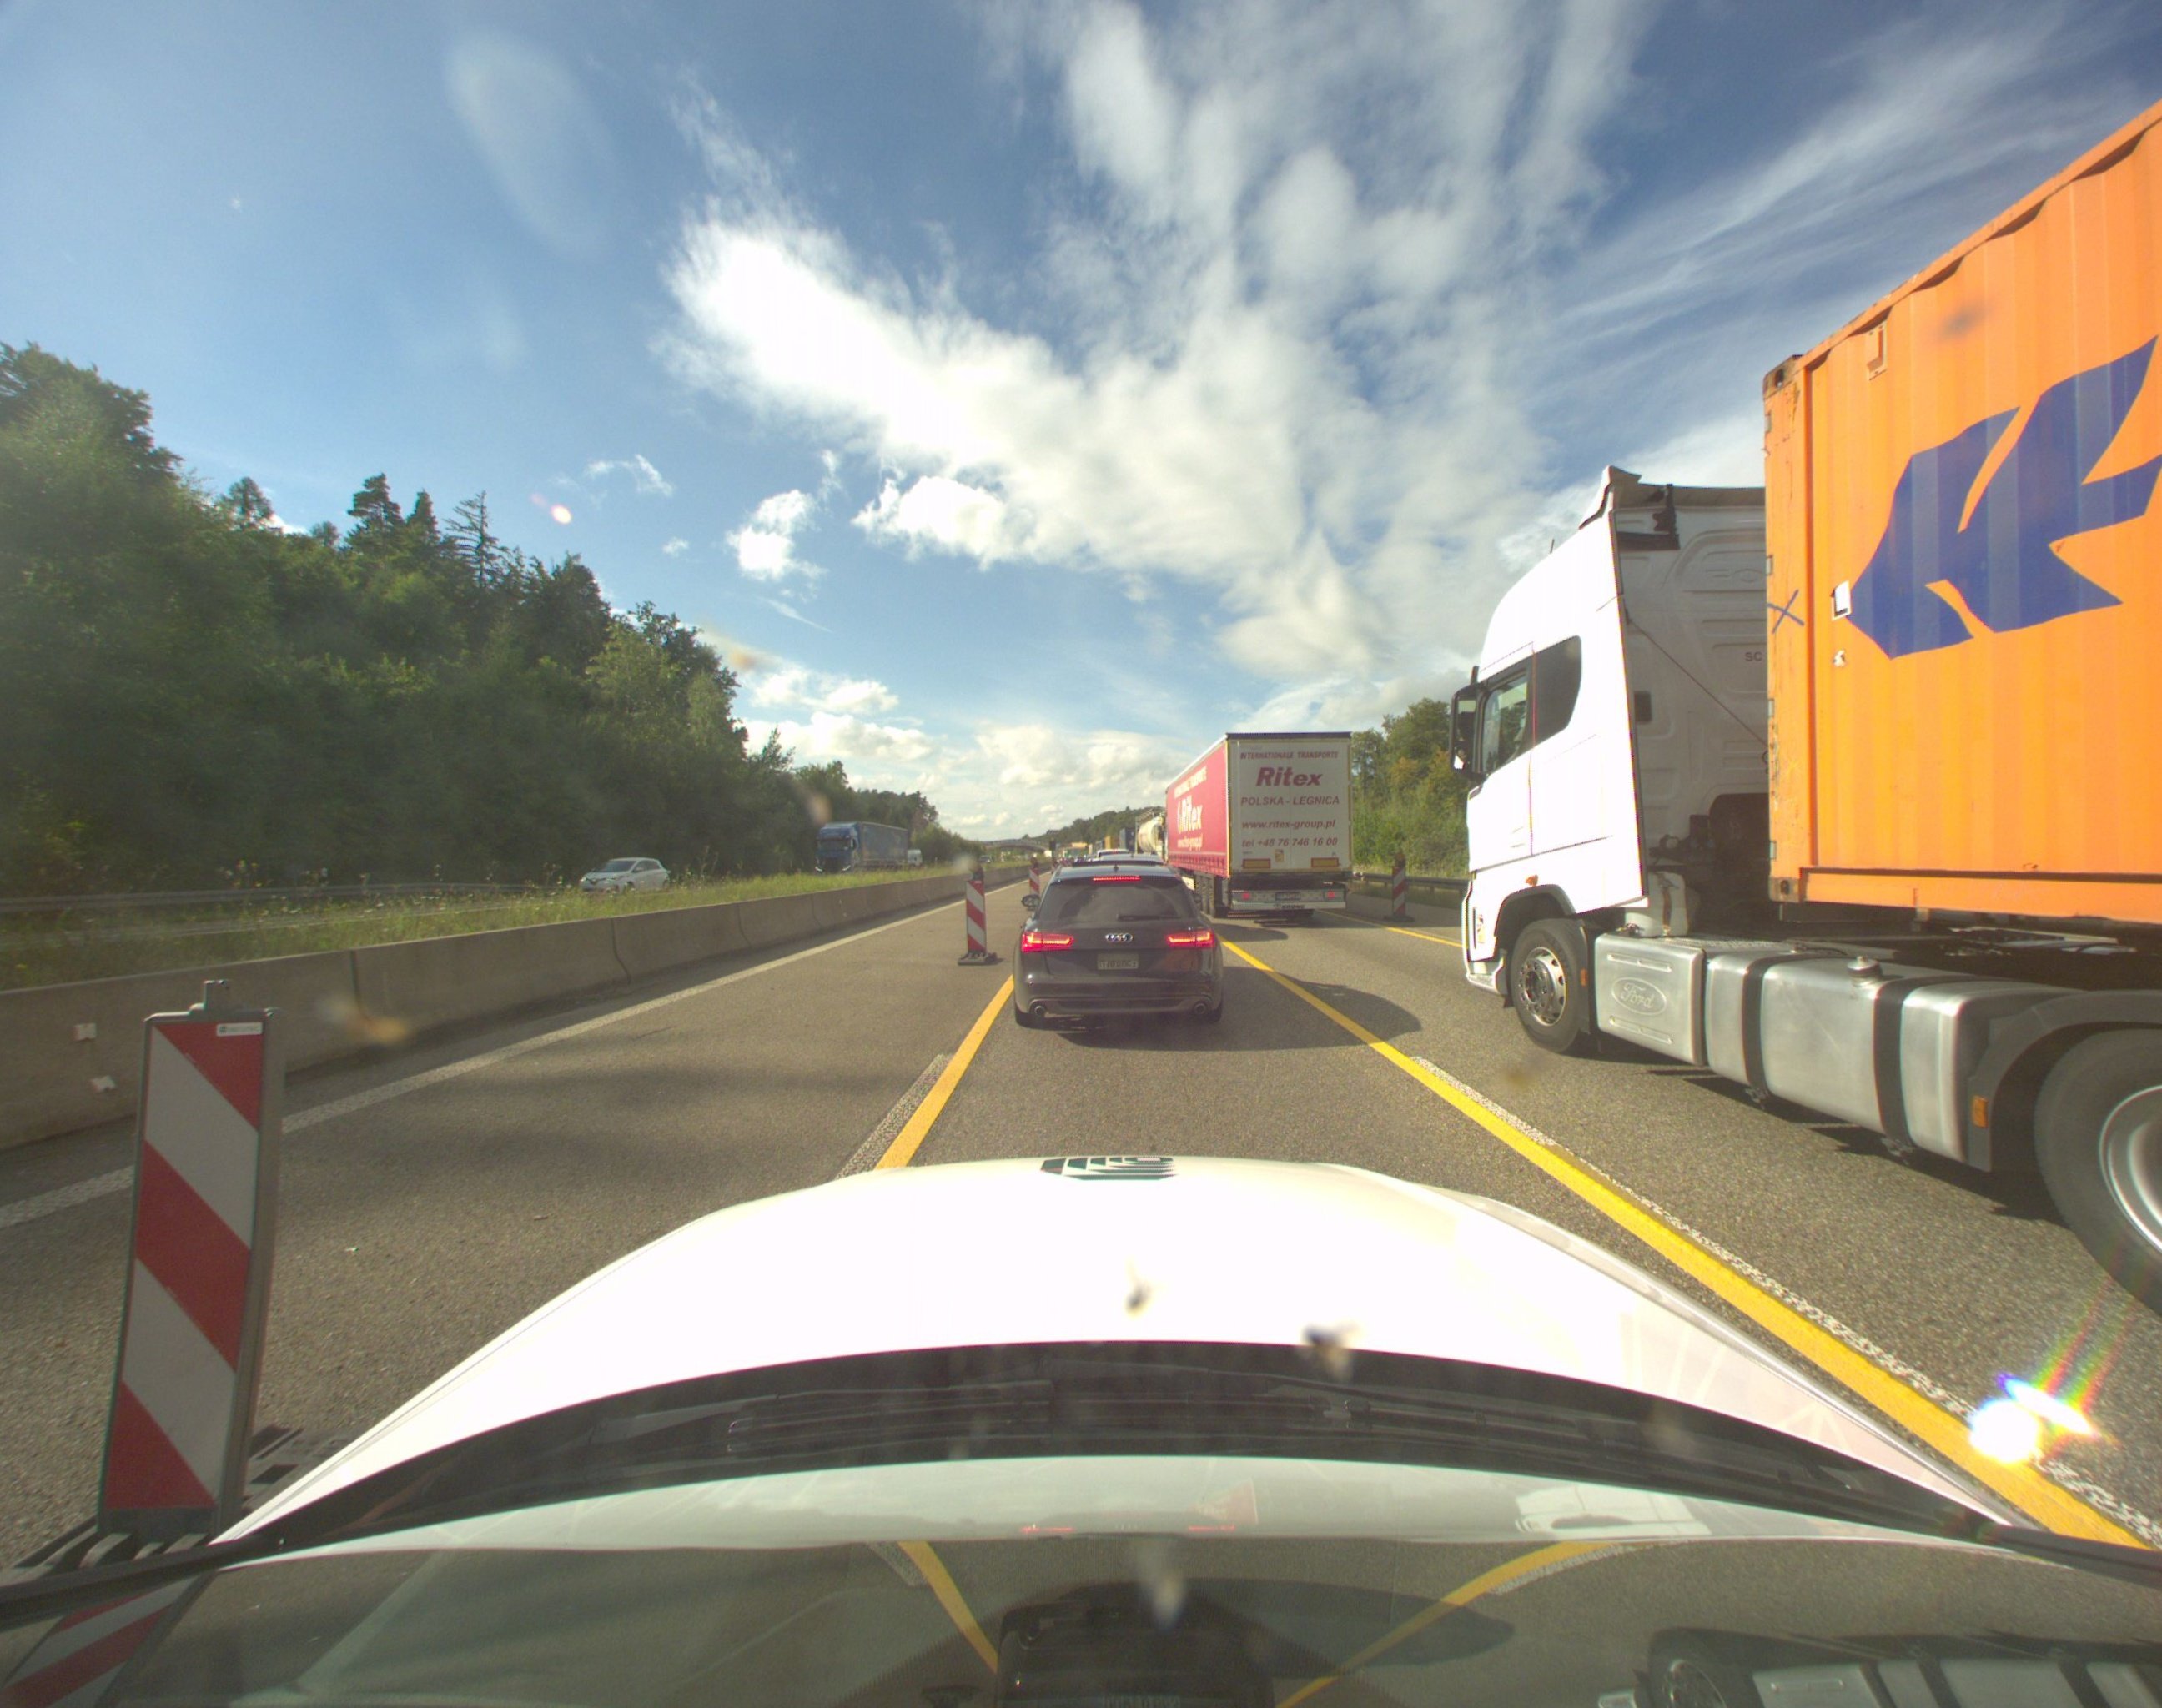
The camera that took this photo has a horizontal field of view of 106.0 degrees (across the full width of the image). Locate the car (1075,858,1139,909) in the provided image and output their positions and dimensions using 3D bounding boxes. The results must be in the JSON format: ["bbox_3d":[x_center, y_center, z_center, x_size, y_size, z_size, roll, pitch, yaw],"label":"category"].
[{"bbox_3d":[0.784,0.823,24.147,1.745,1.397,3.609,0,-1,2],"label":"car"}]

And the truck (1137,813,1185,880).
[{"bbox_3d":[5.003,-0.432,51.662,2.649,3.972,5.780,0,-1,2],"label":"truck"}]

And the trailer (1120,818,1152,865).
[{"bbox_3d":[5.367,-1.097,80.794,2.795,4.413,10.436,0,-1,2],"label":"trailer"}]

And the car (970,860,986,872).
[{"bbox_3d":[-14.226,1.677,112.772,1.709,1.706,3.524,0,-1,2],"label":"car"}]

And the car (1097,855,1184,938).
[{"bbox_3d":[1.090,0.761,15.887,1.518,1.439,3.286,0,-1,2],"label":"car"}]

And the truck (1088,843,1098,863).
[{"bbox_3d":[2.592,-0.186,173.160,2.130,4.257,7.073,0,-1,1],"label":"truck"}]

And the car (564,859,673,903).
[{"bbox_3d":[-17.505,0.978,31.078,1.780,1.560,4.001,0,-1,2],"label":"car"}]

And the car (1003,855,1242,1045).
[{"bbox_3d":[0.388,0.770,8.365,1.842,1.463,4.001,-1,-1,2],"label":"car"}]

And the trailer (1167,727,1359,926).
[{"bbox_3d":[4.355,-0.546,23.075,2.690,3.969,13.420,0,0,1],"label":"trailer"}]

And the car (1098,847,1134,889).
[{"bbox_3d":[1.607,0.637,37.502,1.575,1.837,3.113,0,-1,2],"label":"car"}]

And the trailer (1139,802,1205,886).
[{"bbox_3d":[4.785,-0.454,45.089,2.634,3.943,12.602,0,0,2],"label":"trailer"}]

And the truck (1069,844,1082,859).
[{"bbox_3d":[-1.613,-0.674,239.065,3.297,4.175,9.689,-1,-1,-4],"label":"truck"}]

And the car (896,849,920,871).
[{"bbox_3d":[-20.850,0.748,98.164,2.247,2.643,5.009,0,-1,-6],"label":"car"}]

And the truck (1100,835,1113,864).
[{"bbox_3d":[4.351,-0.723,141.150,1.987,4.914,9.562,0,0,0],"label":"truck"}]

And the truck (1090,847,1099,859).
[{"bbox_3d":[4.050,-0.169,238.525,2.558,3.466,7.398,0,-1,0],"label":"truck"}]

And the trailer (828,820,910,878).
[{"bbox_3d":[-16.507,-0.327,64.712,2.610,4.141,13.377,0,0,2],"label":"trailer"}]

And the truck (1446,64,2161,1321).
[{"bbox_3d":[4.537,-0.476,4.512,2.486,3.780,5.790,-1,0,1],"label":"truck"}]

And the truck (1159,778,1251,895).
[{"bbox_3d":[4.496,-0.575,30.562,2.658,3.959,5.711,0,0,1],"label":"truck"}]

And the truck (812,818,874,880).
[{"bbox_3d":[-16.727,-0.345,57.637,2.628,4.189,5.469,0,0,2],"label":"truck"}]

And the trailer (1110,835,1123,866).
[{"bbox_3d":[4.650,-0.447,107.836,1.611,3.918,6.490,0,-1,1],"label":"trailer"}]
